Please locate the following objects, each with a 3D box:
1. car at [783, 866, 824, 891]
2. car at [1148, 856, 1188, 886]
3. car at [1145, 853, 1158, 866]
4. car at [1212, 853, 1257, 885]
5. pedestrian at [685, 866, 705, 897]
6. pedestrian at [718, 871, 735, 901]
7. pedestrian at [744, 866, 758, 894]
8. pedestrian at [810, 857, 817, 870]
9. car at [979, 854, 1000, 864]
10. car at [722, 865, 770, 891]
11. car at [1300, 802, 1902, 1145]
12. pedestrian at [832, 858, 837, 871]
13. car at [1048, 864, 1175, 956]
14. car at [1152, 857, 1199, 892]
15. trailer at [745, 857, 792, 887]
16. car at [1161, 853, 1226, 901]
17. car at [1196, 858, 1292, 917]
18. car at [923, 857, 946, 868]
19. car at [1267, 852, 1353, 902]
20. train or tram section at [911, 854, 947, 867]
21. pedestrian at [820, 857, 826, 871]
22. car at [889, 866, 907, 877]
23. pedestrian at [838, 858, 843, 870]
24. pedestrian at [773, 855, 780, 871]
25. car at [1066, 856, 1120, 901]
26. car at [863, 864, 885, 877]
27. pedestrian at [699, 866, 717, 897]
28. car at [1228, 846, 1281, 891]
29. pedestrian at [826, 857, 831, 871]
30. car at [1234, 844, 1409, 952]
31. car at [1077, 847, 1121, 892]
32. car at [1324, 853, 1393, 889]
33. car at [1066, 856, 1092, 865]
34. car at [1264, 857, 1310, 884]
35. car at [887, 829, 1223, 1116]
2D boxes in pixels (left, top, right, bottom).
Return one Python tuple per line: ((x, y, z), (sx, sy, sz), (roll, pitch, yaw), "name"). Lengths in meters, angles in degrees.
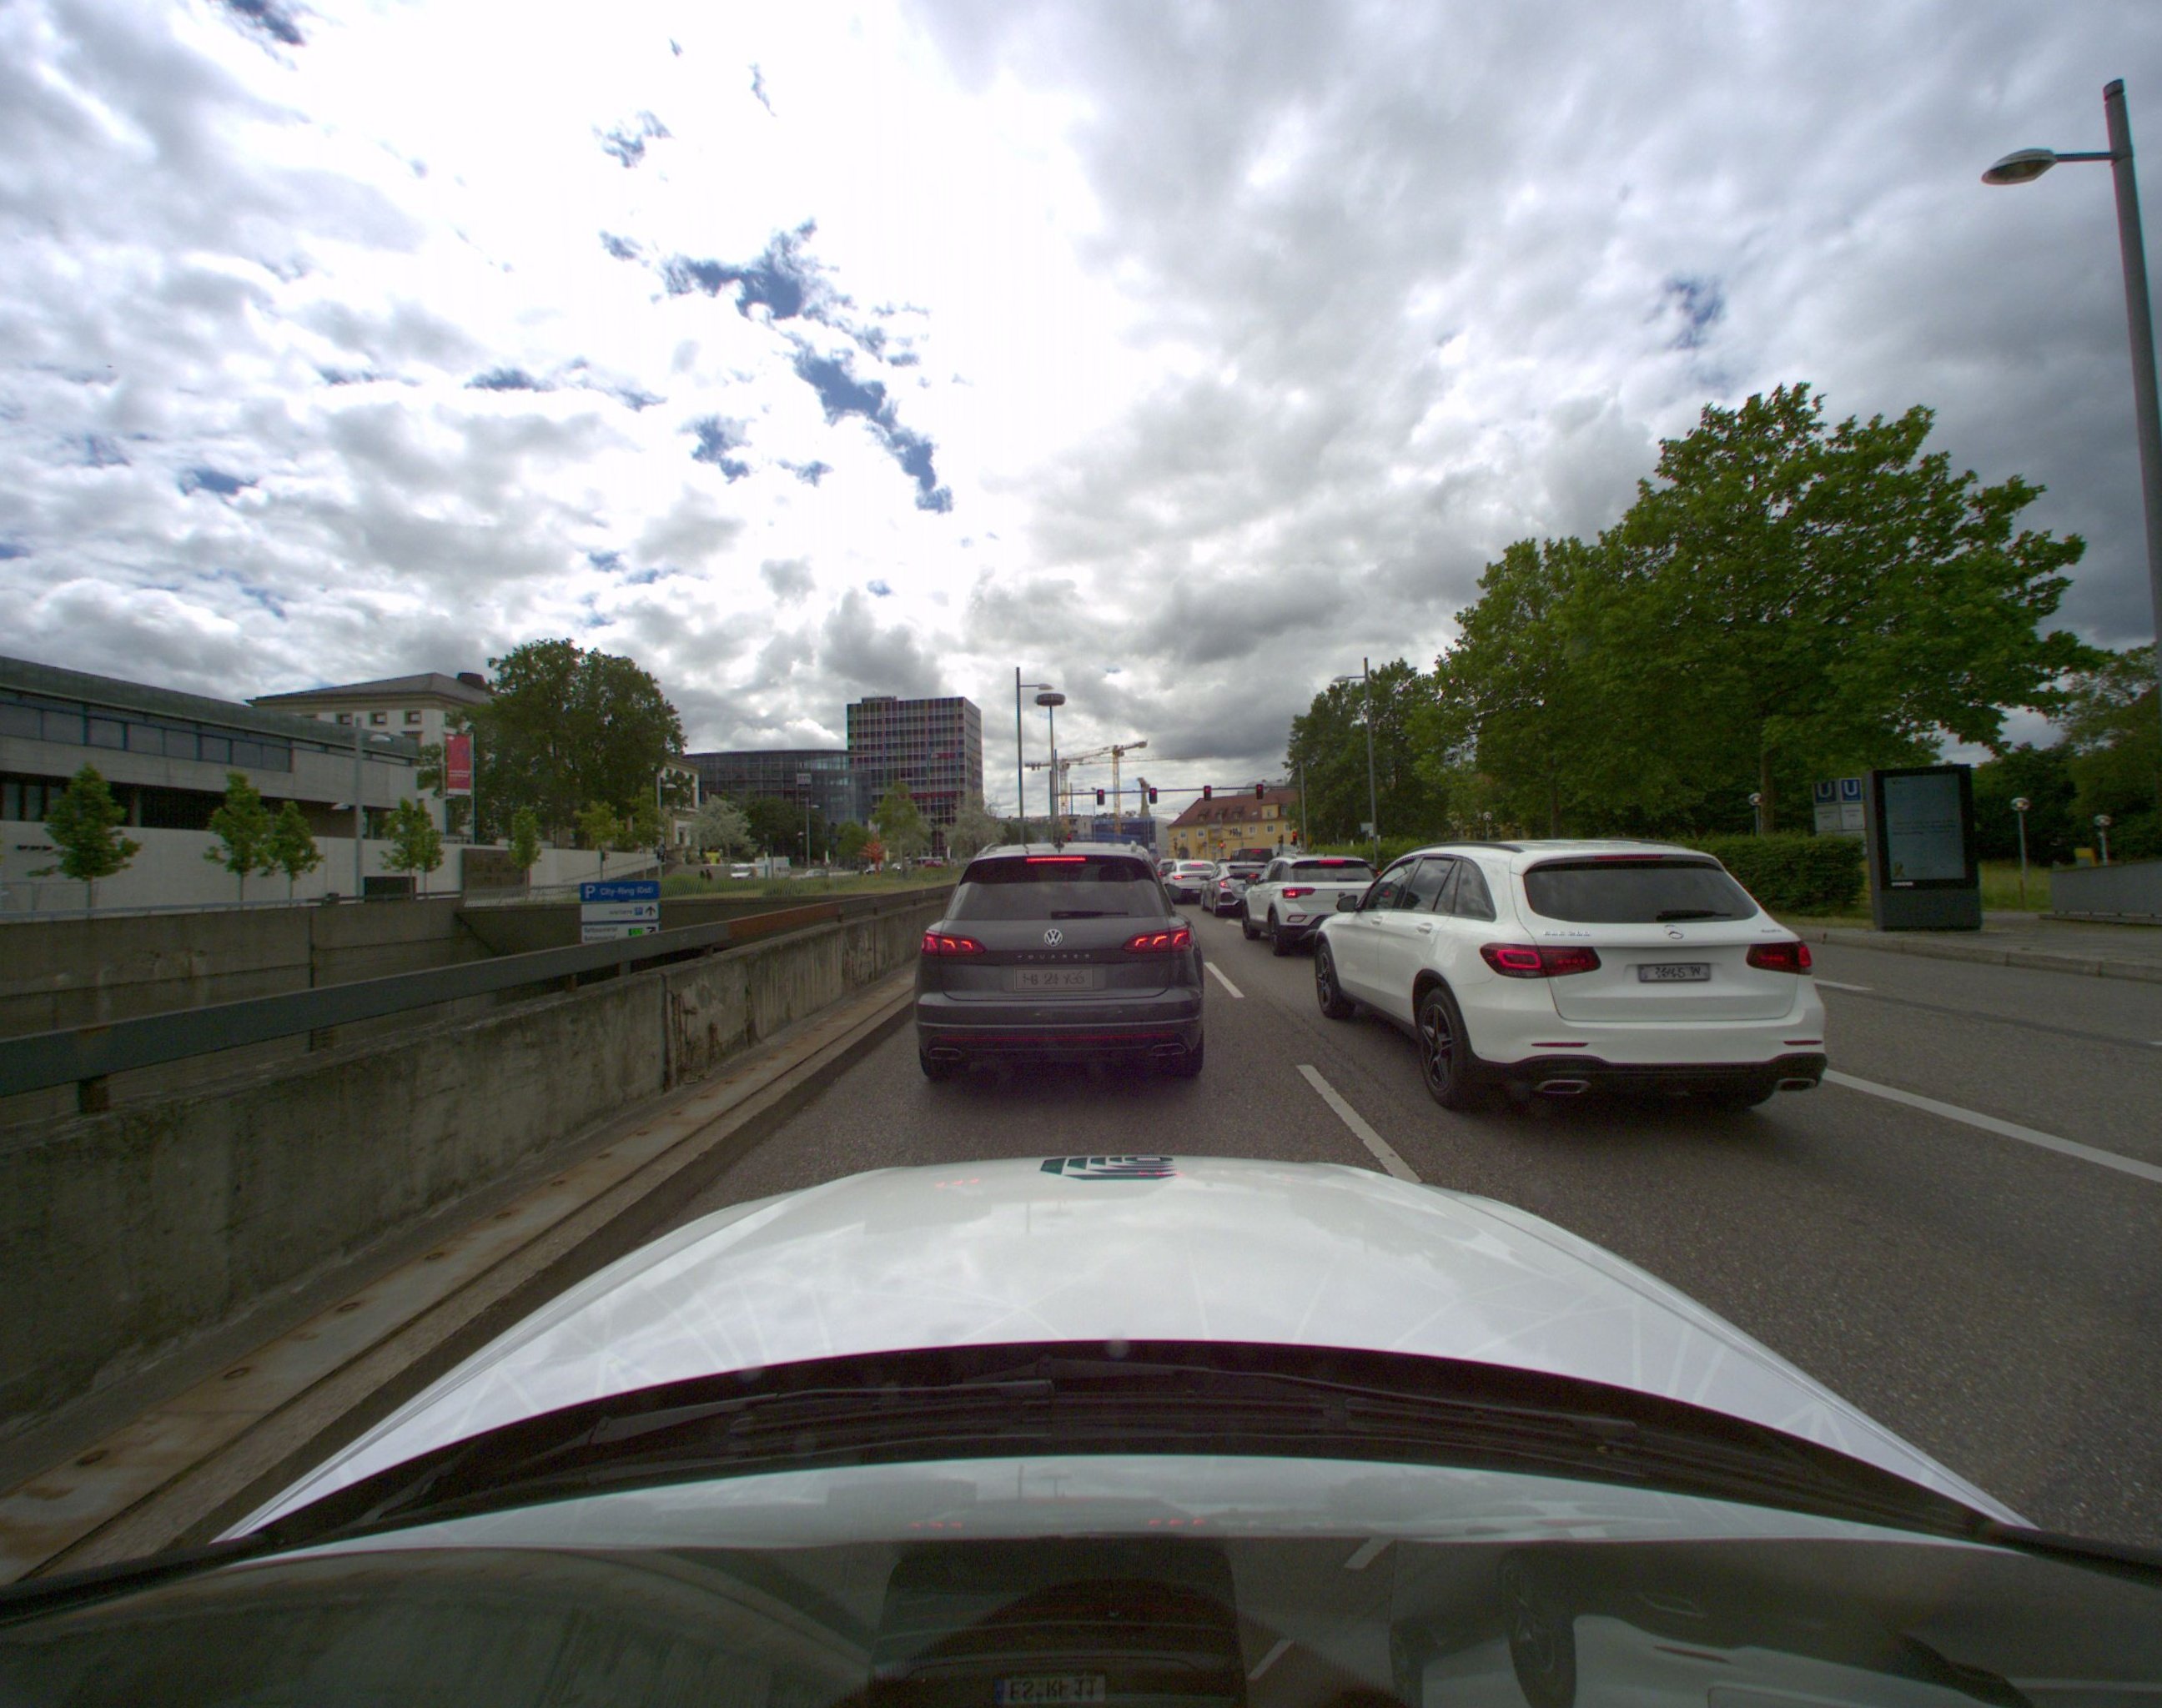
((-25.686, 2.216, 75.518), (1.985, 2.013, 4.695), (-2, 1, 3), "car")
((4.659, 0.927, 44.071), (1.918, 1.529, 4.050), (-1, -1, 3), "car")
((9.678, 0.776, 111.420), (1.612, 1.627, 4.002), (0, -2, 3), "car")
((8.345, 0.820, 44.644), (1.902, 1.697, 4.014), (0, -1, 3), "car")
((-25.874, 1.836, 54.561), (0.782, 2.013, 0.842), (-2, 0, 36), "pedestrian")
((-24.442, 2.205, 56.144), (0.867, 2.013, 0.622), (-2, 1, -38), "pedestrian")
((-24.133, 1.887, 59.545), (0.729, 2.012, 0.628), (-2, 4, -6), "pedestrian")
((-40.949, 1.436, 124.660), (0.735, 2.013, 0.793), (-2, 1, 2), "pedestrian")
((-20.526, 1.140, 183.019), (4.402, 2.014, 2.012), (-1, -2, 36), "car")
((-28.780, 2.026, 70.165), (1.985, 2.013, 4.695), (-2, 1, 3), "car")
((3.152, 0.609, 6.262), (1.918, 1.653, 4.493), (-1, -1, 3), "car")
((-38.719, 1.591, 127.859), (0.740, 2.013, 0.915), (-2, 1, -17), "pedestrian")
((0.526, 0.884, 14.516), (1.944, 1.384, 3.932), (0, 0, 1), "car")
((4.341, 0.938, 37.786), (1.918, 1.529, 4.050), (-1, -1, 3), "car")
((-28.764, 1.606, 75.206), (2.030, 2.604, 5.511), (0, 0, 2), "trailer")
((3.905, 0.796, 28.971), (1.918, 1.529, 4.493), (-1, -1, 3), "car")
((4.317, 0.854, 22.230), (1.918, 1.432, 4.493), (-1, -1, 3), "car")
((-29.326, 1.732, 162.599), (4.631, 2.013, 2.013), (-1, 1, 40), "car")
((8.155, 0.774, 29.431), (1.986, 1.640, 4.305), (-1, 0, 1), "car")
((-35.915, 1.550, 192.350), (8.836, 3.010, 2.612), (-1, -2, 30), "train or tram section")
((-40.312, 1.566, 127.260), (0.740, 2.013, 0.915), (-2, 1, -17), "pedestrian")
((-26.001, 2.470, 115.549), (1.727, 1.495, 3.594), (0, -2, 0), "car")
((-40.836, 1.755, 138.388), (0.739, 2.013, 0.789), (-2, 1, -14), "pedestrian")
((-38.860, 1.097, 103.911), (0.739, 2.014, 0.789), (-1, -3, -12), "pedestrian")
((0.478, 0.876, 31.158), (1.944, 1.600, 3.932), (0, 0, 1), "car")
((-25.465, 2.046, 100.244), (1.727, 1.495, 3.594), (0, -2, 0), "car")
((-25.359, 1.861, 55.387), (0.788, 2.013, 0.837), (-2, 0, 0), "pedestrian")
((8.262, 0.685, 39.063), (1.902, 2.014, 4.014), (0, -1, 3), "car")
((-39.363, 1.562, 127.081), (0.740, 2.013, 0.915), (-2, 1, -17), "pedestrian")
((3.935, 0.684, 14.156), (1.918, 1.551, 4.493), (-1, -1, 3), "car")
((0.876, 0.712, 38.691), (1.944, 2.018, 3.932), (0, 0, 1), "car")
((11.860, 0.742, 35.077), (1.921, 1.460, 4.536), (0, -1, 7), "car")
((-0.363, 1.160, 141.999), (4.173, 1.603, 1.764), (-1, -2, 38), "car")
((11.497, 0.928, 45.655), (1.751, 1.447, 3.633), (0, -1, 1), "car")
((-0.098, 0.708, 6.791), (1.944, 1.651, 4.001), (-1, 0, 1), "car")
